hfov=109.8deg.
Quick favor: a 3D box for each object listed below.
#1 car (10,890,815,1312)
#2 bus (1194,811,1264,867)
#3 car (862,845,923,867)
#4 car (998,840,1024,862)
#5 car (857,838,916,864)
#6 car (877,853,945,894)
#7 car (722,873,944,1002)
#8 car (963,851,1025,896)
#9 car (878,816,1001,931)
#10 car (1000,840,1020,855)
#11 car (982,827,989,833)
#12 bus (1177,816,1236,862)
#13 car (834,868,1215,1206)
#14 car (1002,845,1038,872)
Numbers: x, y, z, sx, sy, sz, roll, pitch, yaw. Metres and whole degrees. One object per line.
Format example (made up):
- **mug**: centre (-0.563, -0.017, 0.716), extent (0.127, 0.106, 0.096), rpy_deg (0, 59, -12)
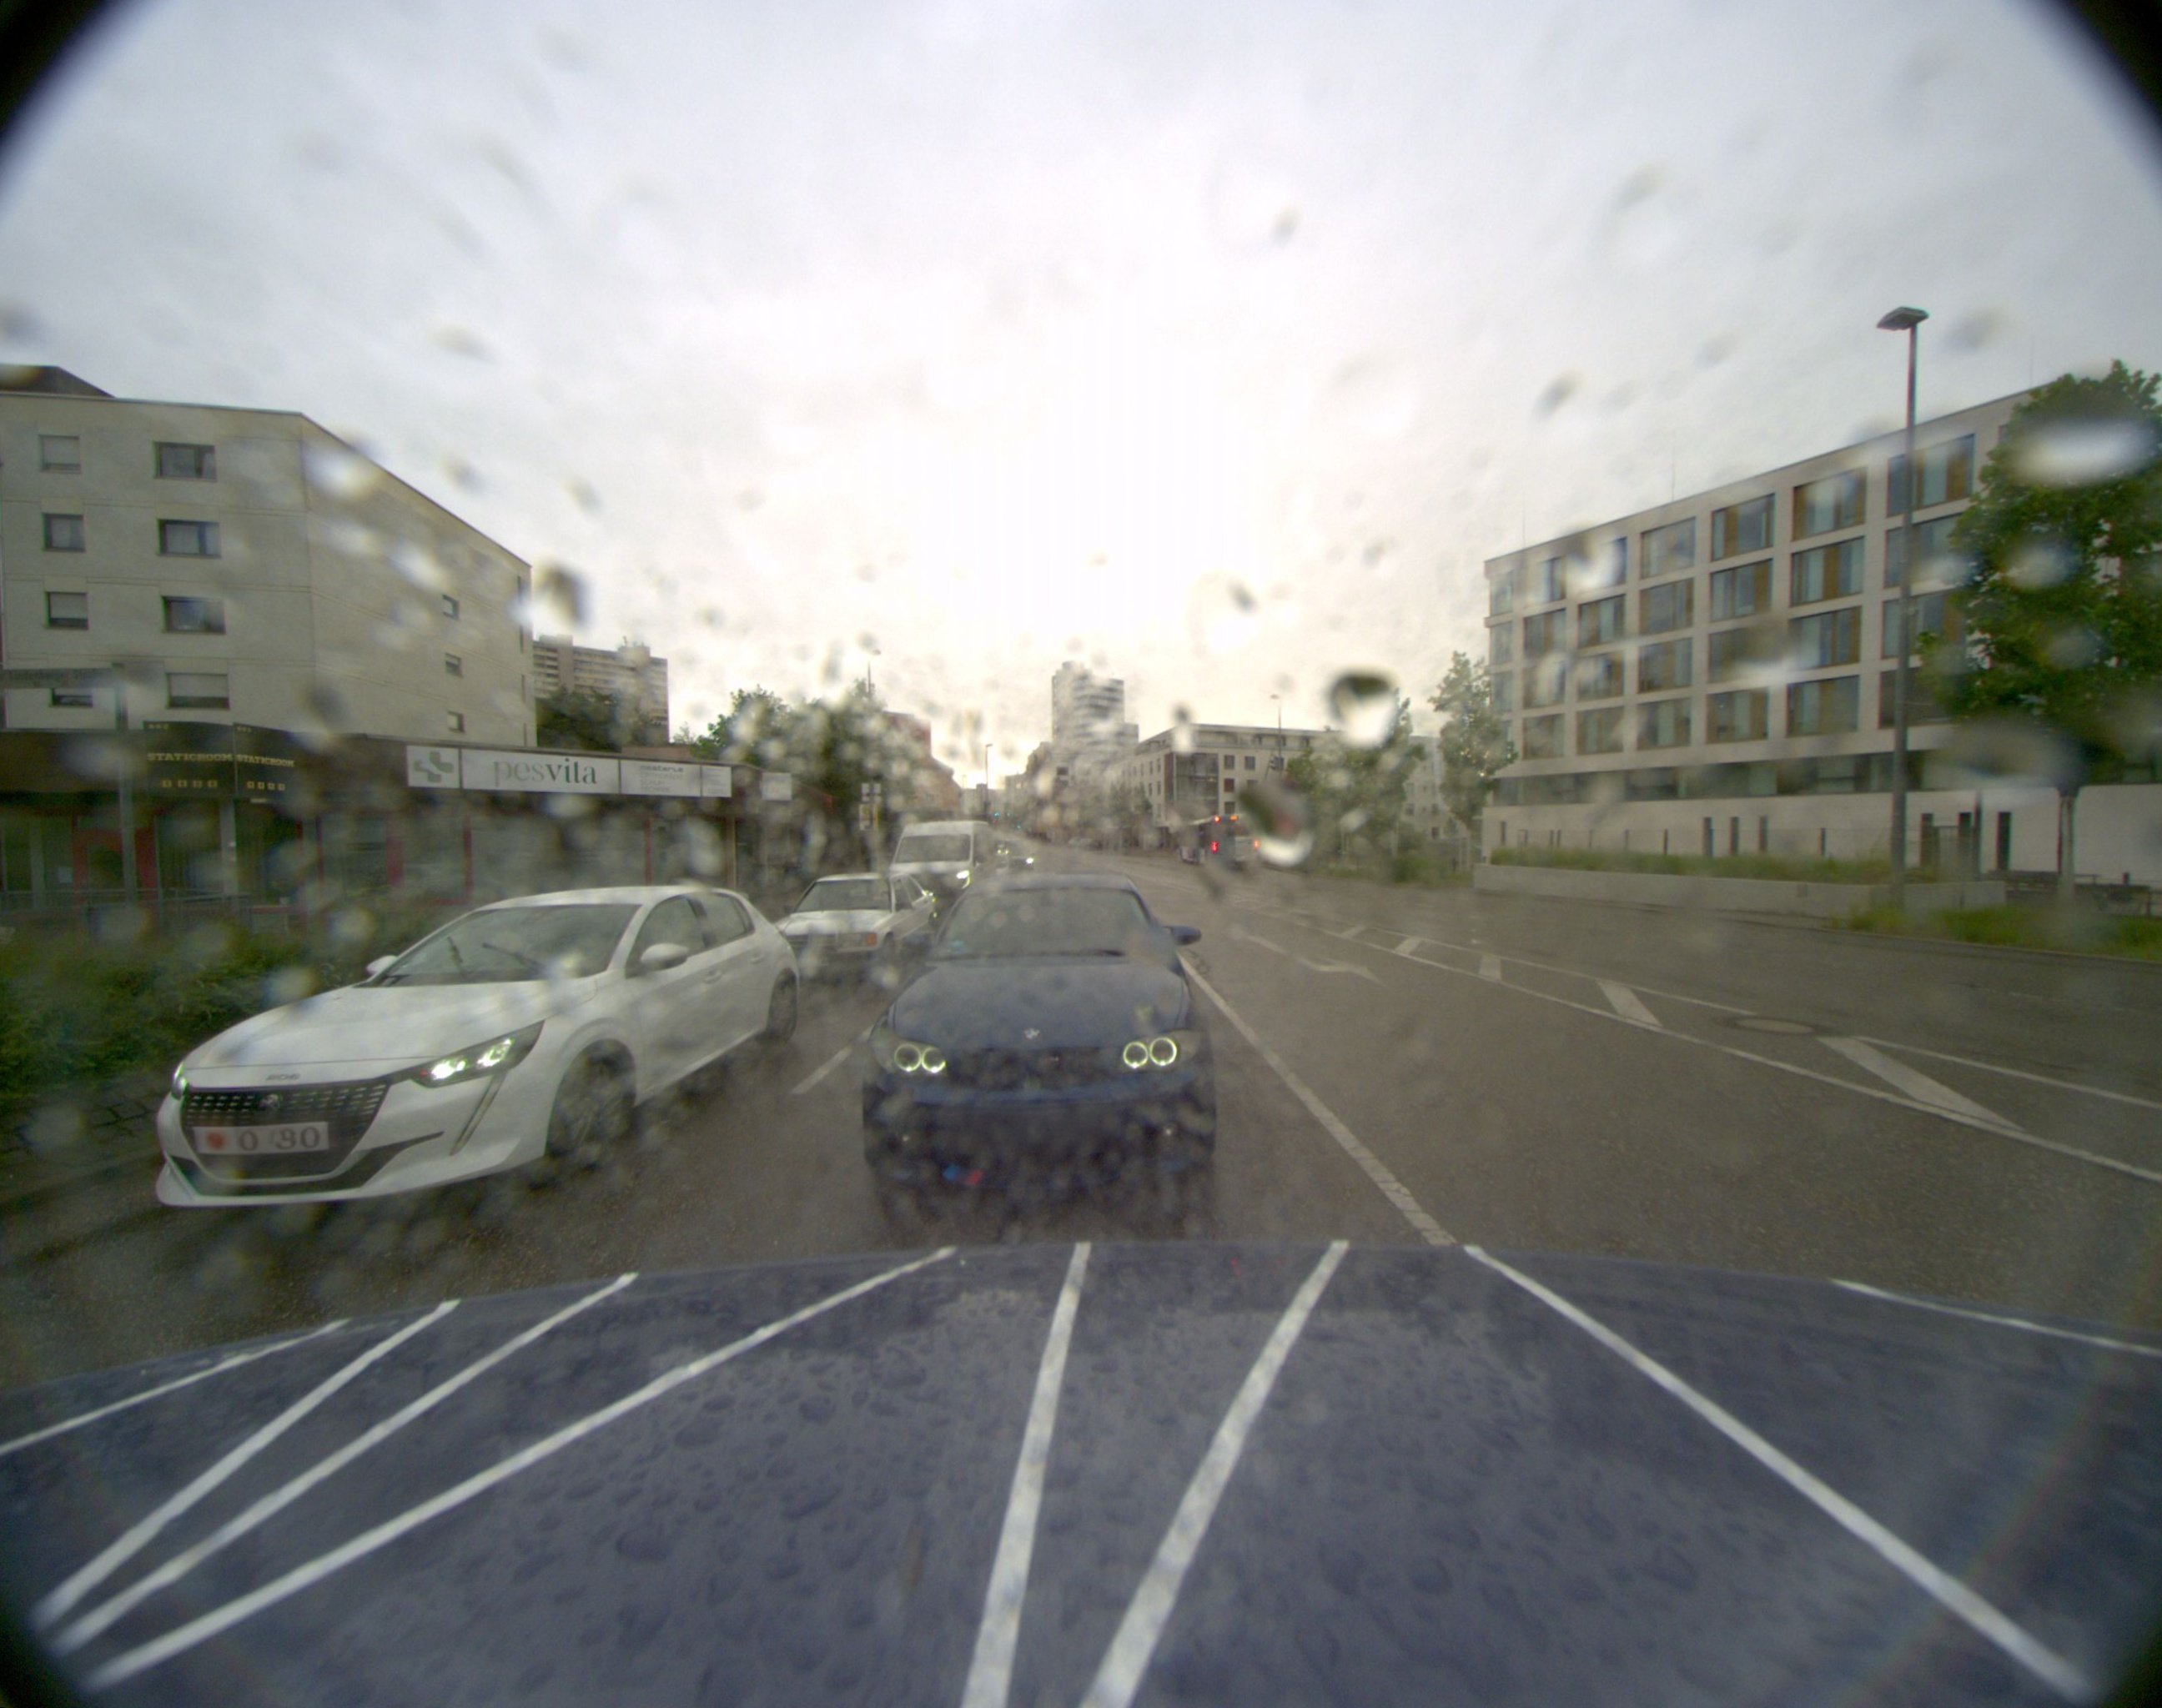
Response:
- **car**: centre (-3.375, 1.088, 5.080), extent (1.666, 1.407, 4.114), rpy_deg (-2, 1, 1)
- **bus**: centre (8.942, -0.876, 46.943), extent (2.783, 3.096, 9.368), rpy_deg (0, 1, 2)
- **car**: centre (-13.123, 0.113, 53.072), extent (4.000, 1.419, 1.882), rpy_deg (-1, 1, -10)
- **car**: centre (-6.555, -0.336, 71.968), extent (1.998, 2.002, 3.999), rpy_deg (0, 1, 1)
- **car**: centre (-14.105, -0.231, 55.276), extent (4.000, 1.769, 1.882), rpy_deg (-1, 1, -10)
- **car**: centre (-6.977, 0.764, 31.570), extent (1.788, 1.481, 4.000), rpy_deg (-2, 1, 1)
- **car**: centre (-3.354, 1.056, 11.202), extent (1.788, 1.338, 4.162), rpy_deg (-2, 1, 1)
- **car**: centre (-3.296, 0.691, 29.451), extent (1.803, 1.530, 3.999), rpy_deg (-2, 1, 1)
- **car**: centre (-3.453, 0.365, 19.895), extent (2.197, 2.503, 6.120), rpy_deg (-1, 1, -2)
- **car**: centre (-8.401, -0.795, 90.458), extent (1.879, 1.745, 4.000), rpy_deg (1, 0, 1)
- **car**: centre (-26.714, -6.766, 211.498), extent (1.666, 1.625, 3.801), rpy_deg (-2, 1, -11)
- **bus**: centre (9.082, -1.065, 56.031), extent (2.799, 3.096, 8.882), rpy_deg (-1, 1, 0)
- **car**: centre (-0.296, 0.868, 5.466), extent (1.693, 1.380, 3.999), rpy_deg (-2, 1, -1)
- **car**: centre (-3.856, 0.245, 48.589), extent (1.999, 1.559, 3.998), rpy_deg (-2, 1, -1)
